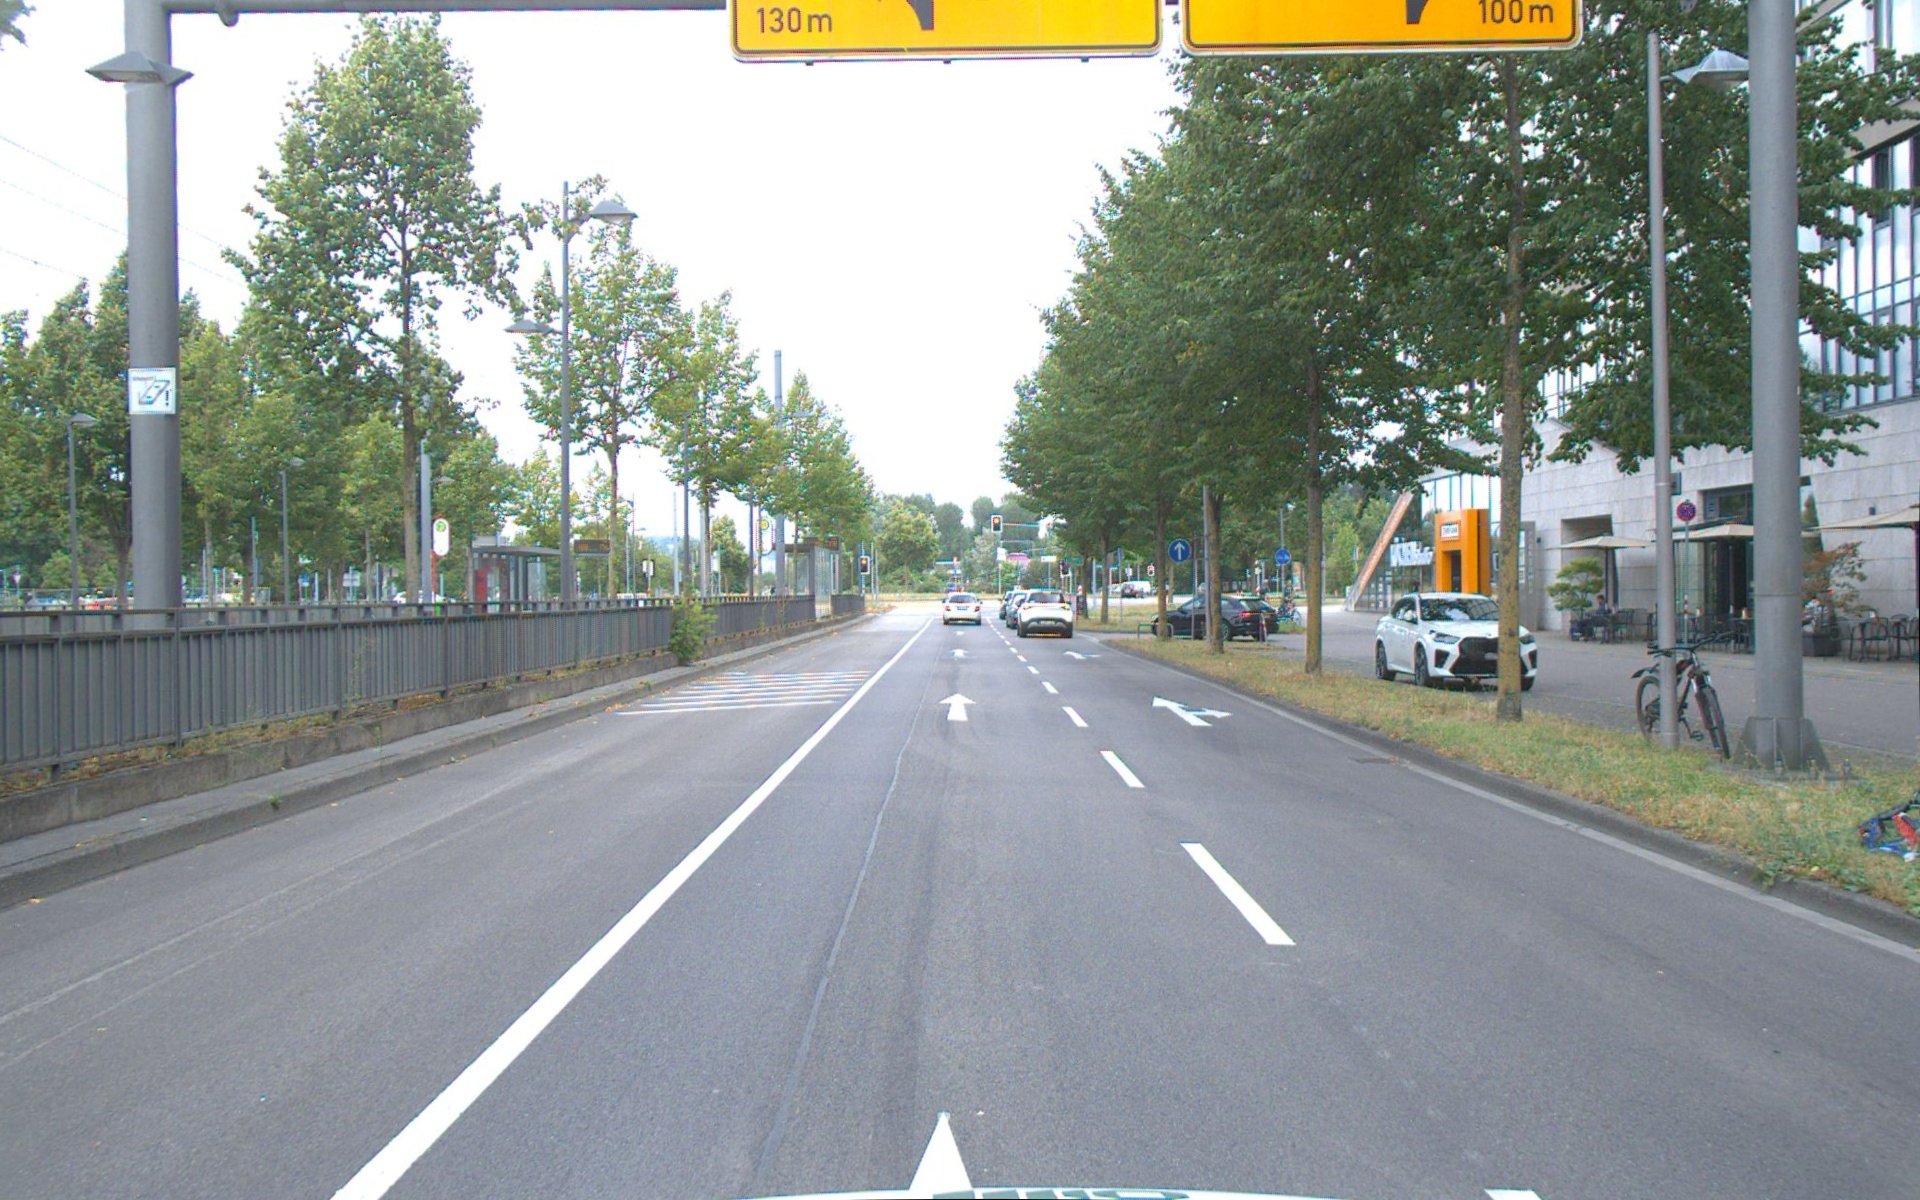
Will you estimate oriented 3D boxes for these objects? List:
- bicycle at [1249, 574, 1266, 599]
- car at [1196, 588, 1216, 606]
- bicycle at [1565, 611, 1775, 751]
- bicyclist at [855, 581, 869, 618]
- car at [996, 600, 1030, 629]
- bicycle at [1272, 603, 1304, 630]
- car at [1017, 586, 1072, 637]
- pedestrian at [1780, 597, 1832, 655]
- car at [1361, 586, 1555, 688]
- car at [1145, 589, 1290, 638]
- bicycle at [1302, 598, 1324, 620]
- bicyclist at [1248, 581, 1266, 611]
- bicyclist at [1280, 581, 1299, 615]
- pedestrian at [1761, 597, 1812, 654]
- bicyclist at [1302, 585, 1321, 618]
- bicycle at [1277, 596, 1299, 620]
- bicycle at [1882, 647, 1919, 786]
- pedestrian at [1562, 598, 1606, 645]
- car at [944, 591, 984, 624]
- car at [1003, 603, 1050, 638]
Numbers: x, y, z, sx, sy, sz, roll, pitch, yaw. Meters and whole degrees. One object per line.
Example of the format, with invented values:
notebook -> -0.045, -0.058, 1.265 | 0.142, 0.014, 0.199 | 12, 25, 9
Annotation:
bicycle -> 18.433, -0.810, 102.439 | 0.690, 1.532, 2.007 | 0, 0, -1
car -> 23.181, -0.330, 155.865 | 1.745, 1.664, 4.406 | -1, 0, 10
bicycle -> 6.431, 0.699, 15.133 | 0.696, 1.135, 2.199 | 2, 0, -8
bicyclist -> -5.431, -0.023, 91.715 | 0.714, 1.914, 0.736 | -1, 12, -2
car -> 2.786, 0.757, 88.107 | 1.591, 1.474, 3.909 | 1, 0, -2
bicycle -> 12.463, 0.623, 62.874 | 0.617, 0.972, 2.106 | -1, 0, -4
car -> 2.910, 0.392, 57.624 | 1.742, 1.685, 4.023 | -1, 0, 0
pedestrian -> 17.957, 0.547, 35.106 | 0.704, 1.213, 0.759 | -1, 0, 1
car -> 8.409, 0.574, 28.373 | 1.898, 1.579, 4.593 | -1, 0, -1
car -> 8.373, 0.433, 54.221 | 1.925, 1.501, 4.811 | -1, 0, -34
bicycle -> 16.994, 0.420, 79.641 | 0.659, 1.060, 2.007 | -1, 0, 0
bicyclist -> 18.410, -0.267, 102.437 | 0.849, 1.820, 1.174 | -1, 0, -1
bicyclist -> 15.838, -0.100, 79.608 | 0.710, 1.610, 0.989 | 0, 0, -1
pedestrian -> 17.967, 0.554, 35.957 | 0.704, 1.213, 0.759 | -1, 0, -1
bicyclist -> 16.970, 0.066, 79.802 | 0.709, 1.610, 0.990 | -1, 0, 0
bicycle -> 15.826, 0.376, 79.773 | 0.659, 1.163, 2.007 | -1, 0, 0
bicycle -> 7.979, 0.905, 12.396 | 1.823, 1.012, 0.574 | 3, 0, -3
pedestrian -> 16.884, 0.584, 44.758 | 0.879, 1.250, 0.951 | -1, 0, 5
car -> 0.154, 0.323, 76.918 | 1.738, 1.474, 3.909 | -1, 0, -2
car -> 2.872, 0.859, 72.206 | 1.751, 1.457, 4.309 | 0, 0, -2
